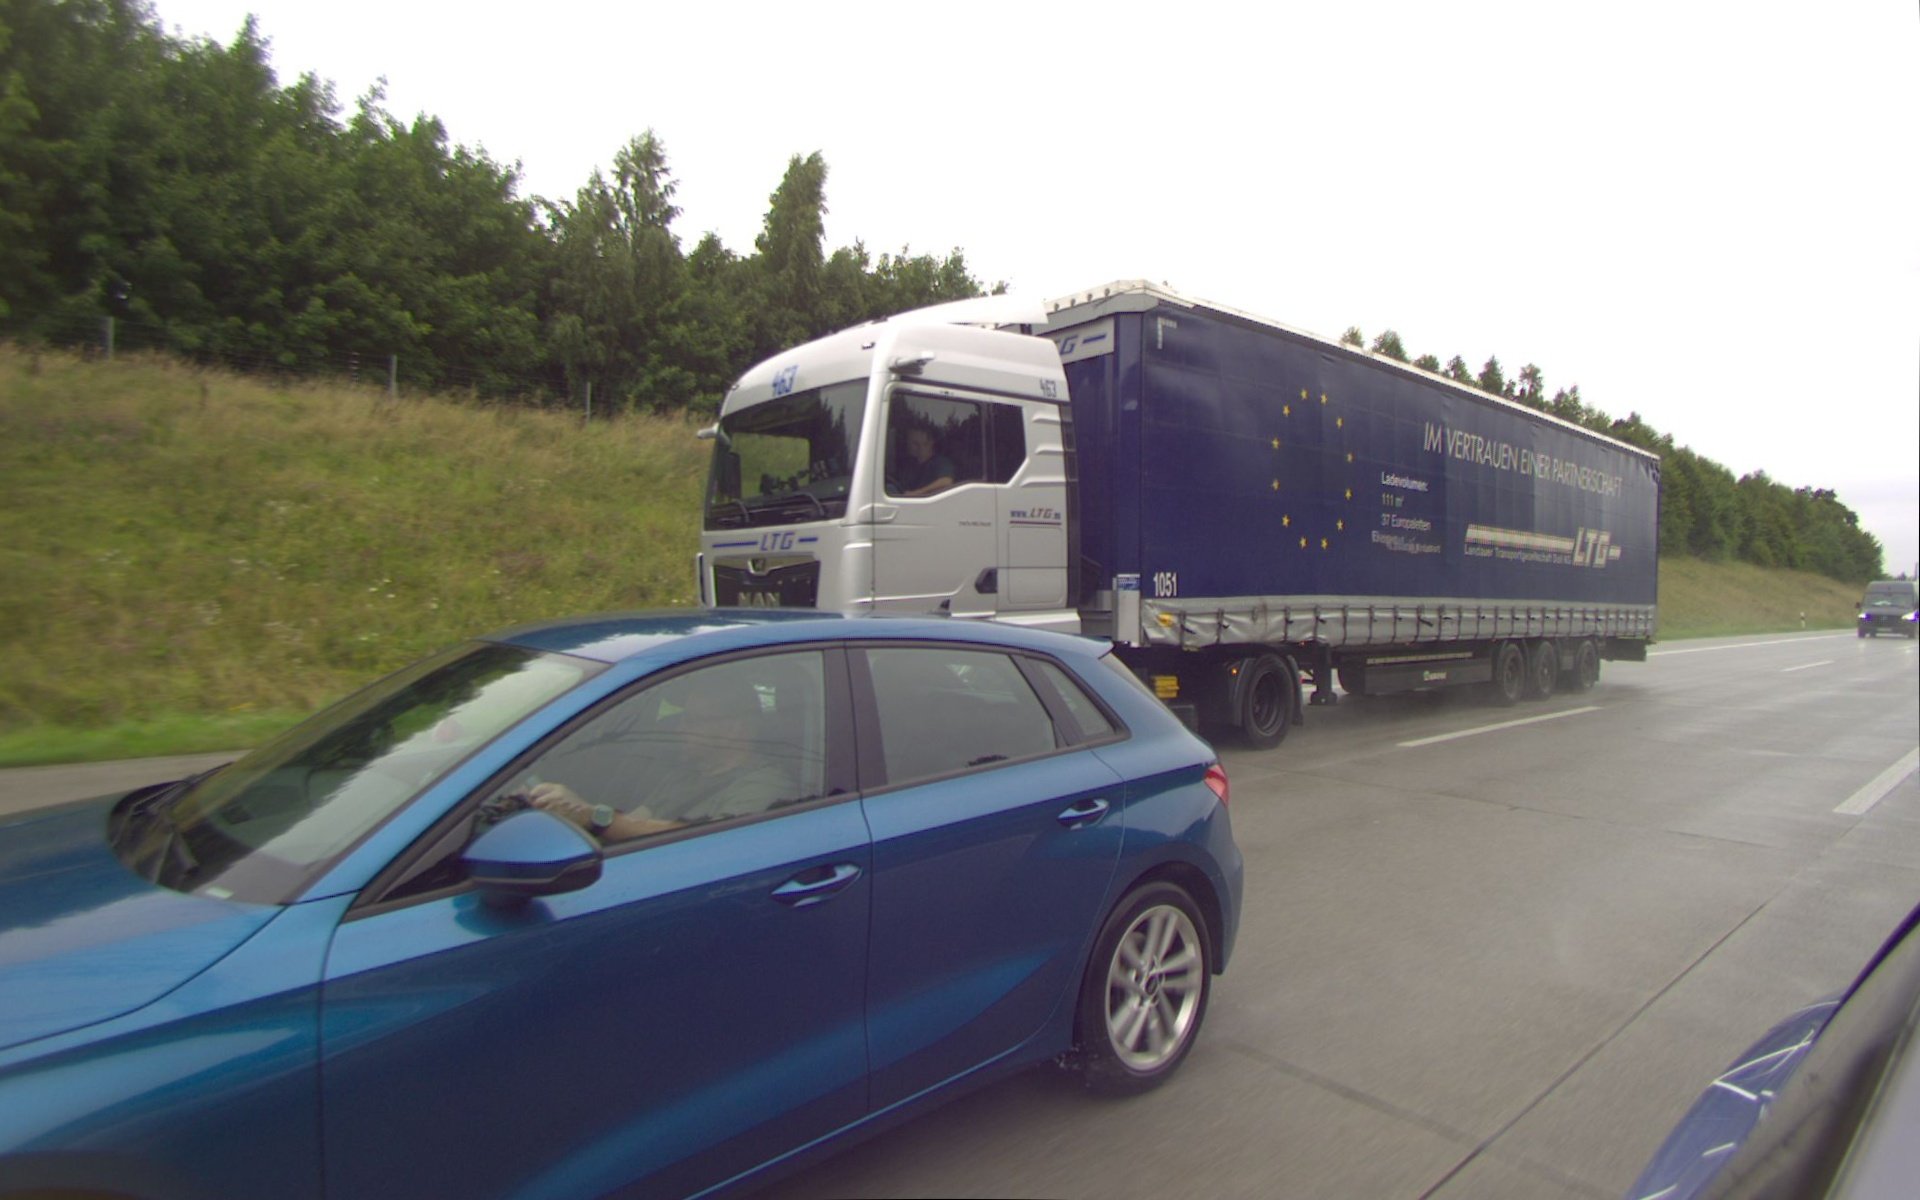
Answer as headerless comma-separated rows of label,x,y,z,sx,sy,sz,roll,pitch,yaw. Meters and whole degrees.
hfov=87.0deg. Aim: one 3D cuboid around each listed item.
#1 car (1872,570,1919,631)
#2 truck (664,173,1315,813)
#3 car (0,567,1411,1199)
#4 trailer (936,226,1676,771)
car,44.279,0.078,47.010,6.468,2.693,1.945,1,-1,-40
truck,0.527,-0.676,9.153,5.585,4.004,2.641,0,0,-40
car,-0.529,0.652,3.151,4.590,1.477,1.733,-1,2,-41
trailer,6.257,-0.836,14.176,14.938,4.435,2.711,0,0,-41
